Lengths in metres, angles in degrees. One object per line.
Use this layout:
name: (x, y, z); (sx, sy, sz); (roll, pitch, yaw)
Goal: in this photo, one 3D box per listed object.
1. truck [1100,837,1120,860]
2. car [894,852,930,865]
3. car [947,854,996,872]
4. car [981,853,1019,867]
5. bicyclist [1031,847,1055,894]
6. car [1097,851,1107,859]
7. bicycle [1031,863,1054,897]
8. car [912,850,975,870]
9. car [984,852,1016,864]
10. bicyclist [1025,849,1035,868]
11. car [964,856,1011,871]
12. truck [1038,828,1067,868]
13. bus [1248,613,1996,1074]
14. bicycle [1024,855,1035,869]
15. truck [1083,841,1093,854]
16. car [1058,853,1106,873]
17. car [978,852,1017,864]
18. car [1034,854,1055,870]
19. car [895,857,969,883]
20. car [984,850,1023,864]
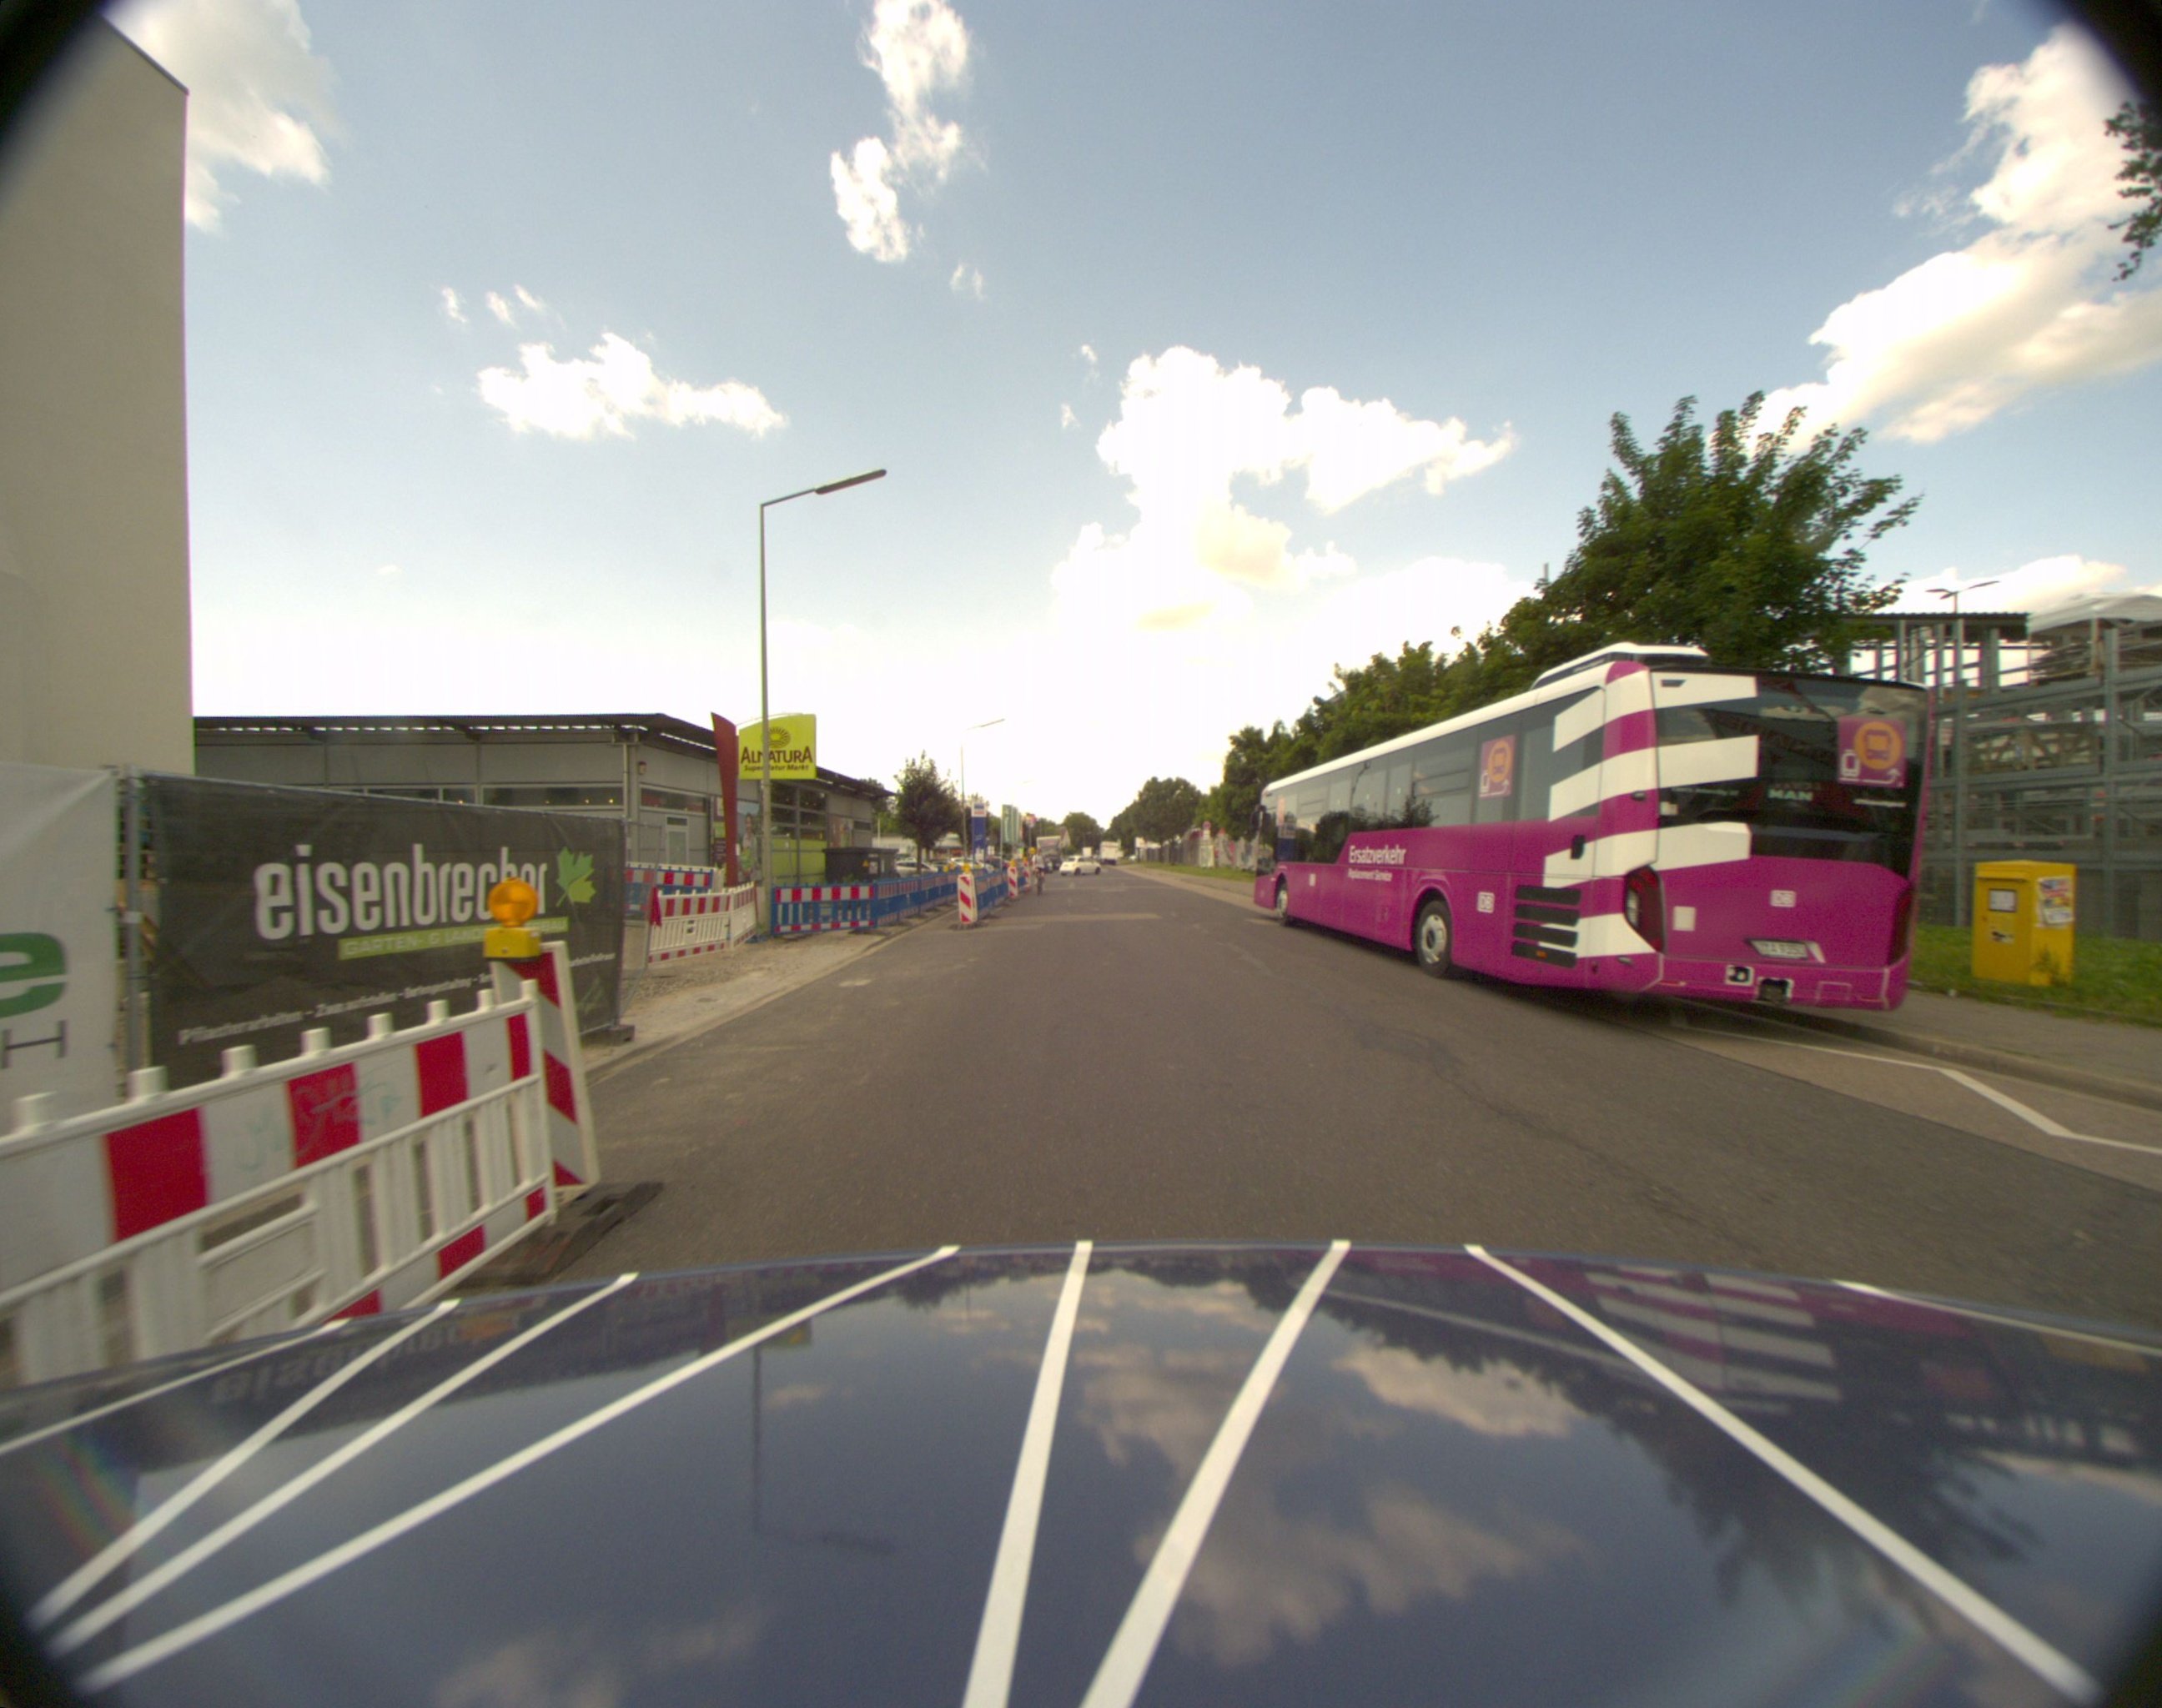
truck: (4.731, -0.964, 124.490); (2.755, 3.701, 7.169); (1, 1, -1)
car: (-20.518, 0.525, 92.286); (3.946, 1.475, 1.724); (0, 0, -3)
car: (-9.316, 0.752, 64.868); (3.963, 1.402, 1.796); (1, 0, -3)
car: (-8.542, 0.643, 80.427); (3.895, 1.513, 1.748); (0, 0, -6)
bicyclist: (-1.516, 0.631, 30.356); (0.808, 1.782, 1.206); (-3, 1, -1)
car: (4.472, 0.224, 164.104); (1.983, 1.565, 3.999); (-1, 0, -1)
bicycle: (-1.511, 1.010, 30.372); (0.800, 1.173, 2.626); (-2, 1, -1)
car: (-9.760, 0.416, 54.132); (4.190, 1.422, 1.806); (1, 1, 1)
car: (-10.089, 0.484, 95.247); (3.821, 1.490, 1.653); (0, 0, 1)
bicyclist: (-5.019, 0.441, 74.582); (0.796, 1.899, 0.829); (3, 1, 2)
car: (-8.882, 0.905, 72.763); (4.319, 1.435, 1.846); (0, 0, -2)
truck: (-3.125, -0.626, 84.943); (2.785, 4.092, 8.277); (-3, 0, 0)
bus: (5.588, -0.115, 12.438); (2.670, 3.403, 13.216); (3, 0, 0)
bicycle: (-5.038, 0.740, 74.526); (0.794, 1.287, 1.882); (3, 1, 1)
truck: (2.290, -2.021, 244.475); (2.979, 4.132, 9.665); (-1, 0, -1)
car: (0.082, 0.689, 59.483); (3.620, 1.461, 1.683); (0, 1, -45)
car: (-9.865, 0.473, 89.831); (4.493, 1.429, 1.858); (0, 0, -2)
car: (-3.391, 0.726, 71.181); (1.666, 1.332, 3.984); (-4, 0, -1)
car: (-9.031, 0.959, 46.375); (4.114, 1.455, 1.989); (1, 1, -1)
car: (-9.952, 0.365, 97.817); (4.906, 1.777, 1.902); (0, 0, -1)
